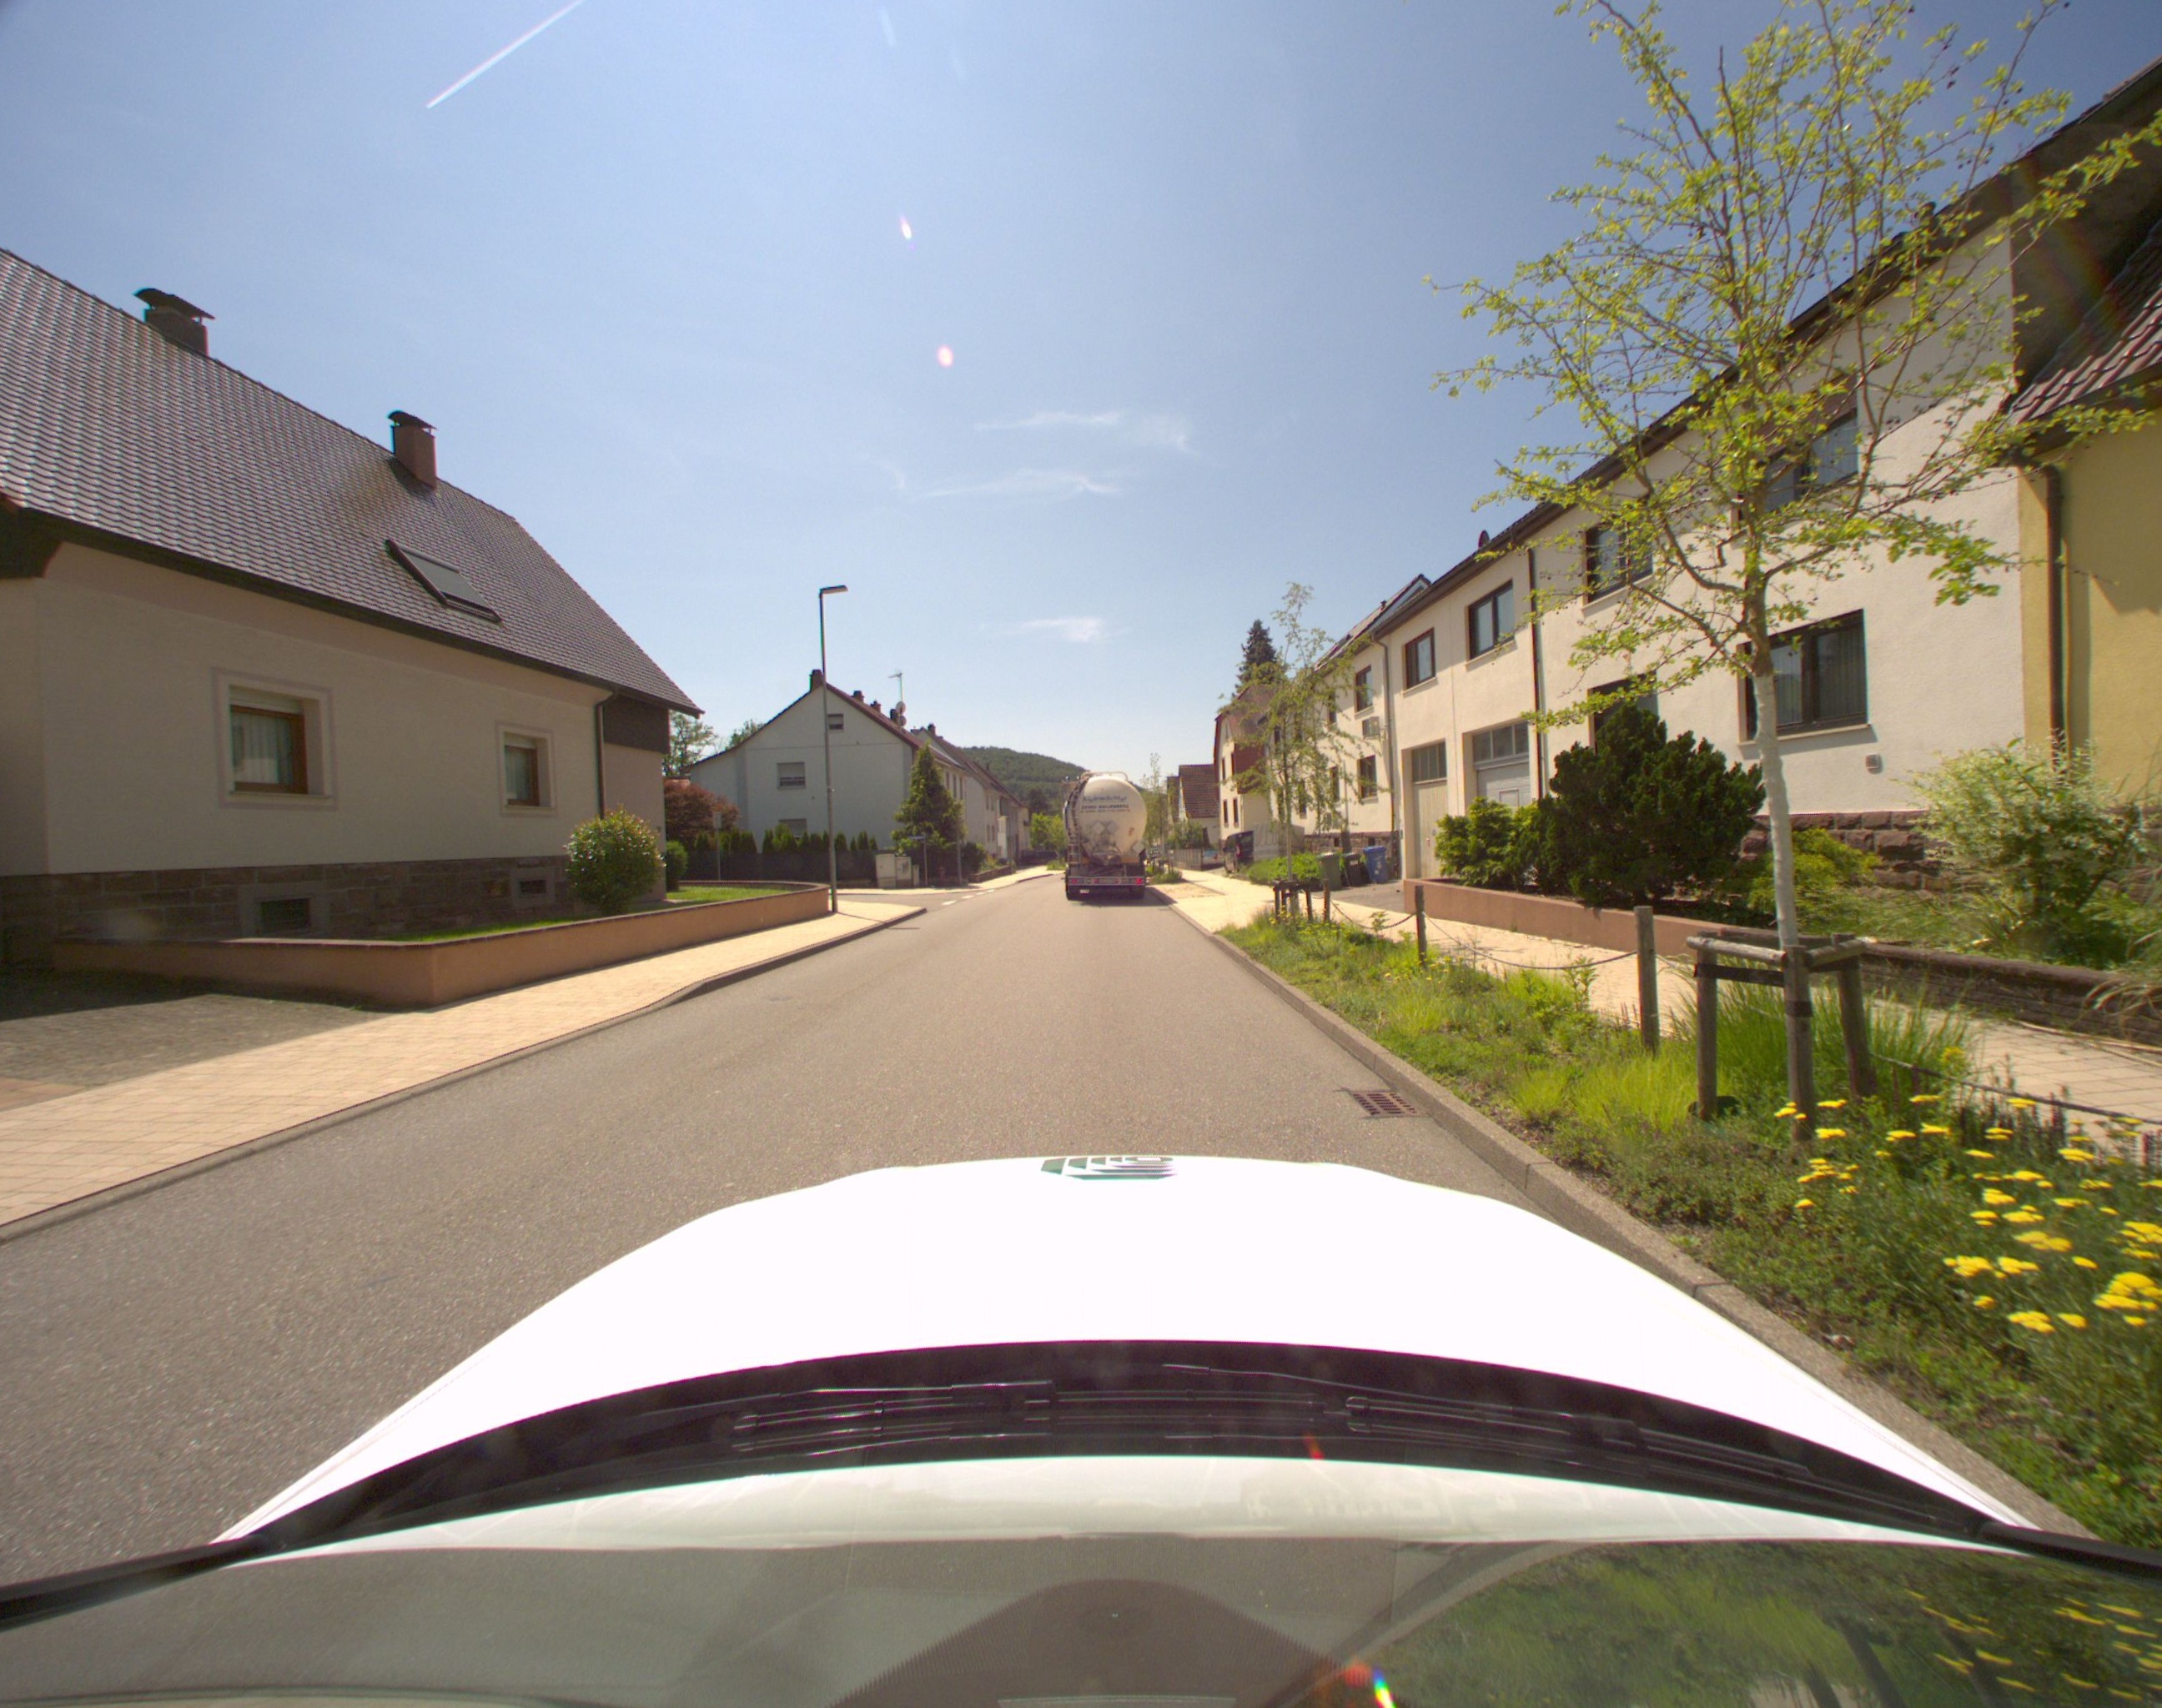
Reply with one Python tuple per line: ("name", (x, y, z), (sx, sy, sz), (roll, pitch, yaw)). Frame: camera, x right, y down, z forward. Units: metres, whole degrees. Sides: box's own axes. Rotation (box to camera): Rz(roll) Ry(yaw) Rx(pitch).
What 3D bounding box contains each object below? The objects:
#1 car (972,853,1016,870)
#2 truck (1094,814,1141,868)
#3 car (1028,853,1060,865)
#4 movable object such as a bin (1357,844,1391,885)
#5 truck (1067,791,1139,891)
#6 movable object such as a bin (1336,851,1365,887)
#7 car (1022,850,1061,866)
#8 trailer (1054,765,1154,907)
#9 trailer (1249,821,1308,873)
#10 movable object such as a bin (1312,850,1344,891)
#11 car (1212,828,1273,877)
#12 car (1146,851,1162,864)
("car", (-8.239, 0.681, 77.358), (3.972, 1.545, 1.833), (-1, 0, 1))
("truck", (3.485, -1.258, 81.622), (3.899, 4.895, 9.792), (-3, 0, -1))
("car", (-4.567, 0.613, 100.168), (3.505, 1.439, 1.710), (-2, 0, 35))
("movable object such as a bin", (8.508, 0.289, 23.654), (0.681, 1.106, 0.864), (-5, -1, 8))
("truck", (0.975, -0.531, 35.102), (2.797, 3.937, 6.102), (-1, 0, 2))
("movable object such as a bin", (7.837, 0.431, 23.709), (0.554, 0.986, 0.804), (-6, -1, 8))
("car", (-4.651, 0.456, 96.046), (4.380, 1.750, 1.878), (-2, 0, 0))
("trailer", (0.766, -0.541, 28.481), (2.786, 4.000, 10.326), (-1, 0, 1))
("trailer", (7.977, -0.278, 32.885), (1.308, 2.013, 2.287), (-1, 0, 44))
("movable object such as a bin", (7.146, 0.480, 23.592), (0.680, 1.115, 0.814), (-6, -1, 7))
("car", (7.382, -0.062, 37.668), (1.845, 1.971, 4.774), (-4, 0, 1))
("car", (9.451, 0.458, 106.260), (1.783, 1.541, 4.523), (-5, 0, 3))
